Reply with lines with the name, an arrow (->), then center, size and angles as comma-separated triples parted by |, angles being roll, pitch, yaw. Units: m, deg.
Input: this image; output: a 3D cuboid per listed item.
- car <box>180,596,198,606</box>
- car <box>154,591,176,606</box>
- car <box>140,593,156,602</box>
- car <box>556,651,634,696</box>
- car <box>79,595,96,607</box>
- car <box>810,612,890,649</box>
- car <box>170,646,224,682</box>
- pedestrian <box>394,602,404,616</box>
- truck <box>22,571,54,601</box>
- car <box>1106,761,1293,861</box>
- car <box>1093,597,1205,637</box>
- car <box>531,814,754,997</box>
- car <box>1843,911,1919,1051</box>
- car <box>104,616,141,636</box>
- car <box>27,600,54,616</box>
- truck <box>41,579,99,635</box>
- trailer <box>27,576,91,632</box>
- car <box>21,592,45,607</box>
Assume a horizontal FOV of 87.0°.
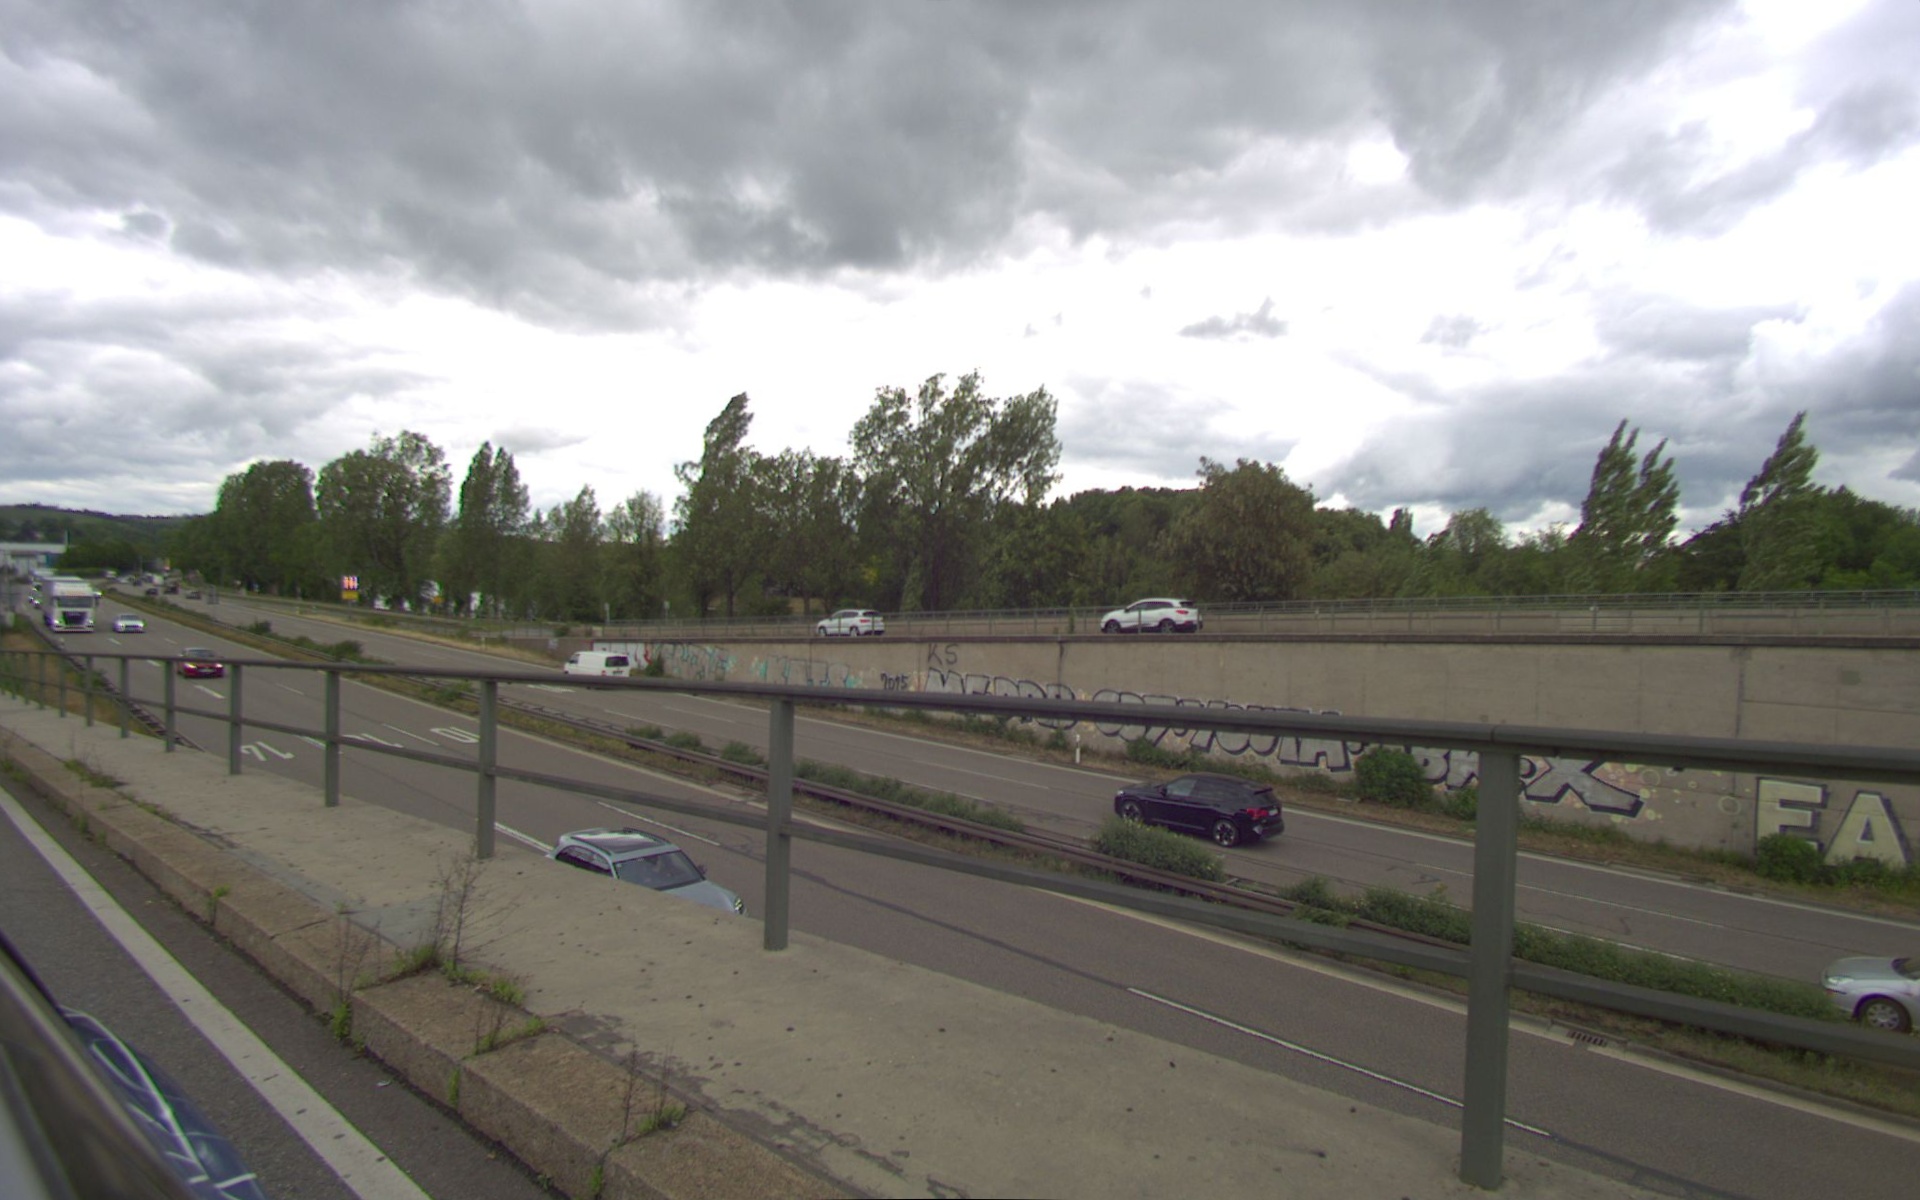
car -> -125.659, 0.211, 164.895 | 4.111, 1.386, 1.692 | 3, 0, 43
car -> -150.370, -0.335, 191.358 | 6.114, 2.566, 2.220 | 2, 1, 43
car -> -143.496, -0.418, 178.752 | 3.859, 1.512, 1.645 | 3, 0, 43
car -> -20.772, 4.125, 57.523 | 5.177, 2.082, 1.972 | 2, 1, 42
car -> -131.407, 0.198, 152.499 | 1.831, 1.619, 4.173 | 3, -1, -40
car -> -6.001, 1.642, 54.770 | 4.211, 1.884, 1.973 | -2, -1, 41
car -> -41.343, 3.431, 54.807 | 4.167, 1.451, 1.732 | 4, 3, 44
pedestrian -> -70.850, 1.080, 127.875 | 1.078, 1.718, 0.820 | 3, 2, 43
truck -> -147.786, -2.333, 162.154 | 11.131, 4.559, 3.136 | 2, 1, 45
car -> 6.443, 5.627, 27.516 | 4.550, 1.751, 1.896 | 2, 0, 40
car -> 7.865, 0.744, 42.363 | 4.346, 1.588, 1.812 | -2, -2, 43
car -> -5.582, 5.100, 17.512 | 4.280, 1.813, 1.820 | 1, 1, 43
car -> 16.126, 6.160, 15.335 | 4.085, 1.539, 1.710 | 2, 1, 41
car -> -68.686, 2.100, 83.009 | 4.279, 1.429, 1.894 | 3, 2, 44
car -> -102.492, 0.909, 112.779 | 4.166, 1.619, 1.834 | 2, 1, 43
truck -> -71.685, 0.530, 81.447 | 6.699, 4.283, 2.721 | 2, 0, 43
trailer -> -77.311, 0.268, 86.715 | 13.152, 4.283, 2.721 | 2, 0, 43
car -> -118.697, -0.062, 129.573 | 4.165, 1.619, 1.834 | 2, -1, 42
